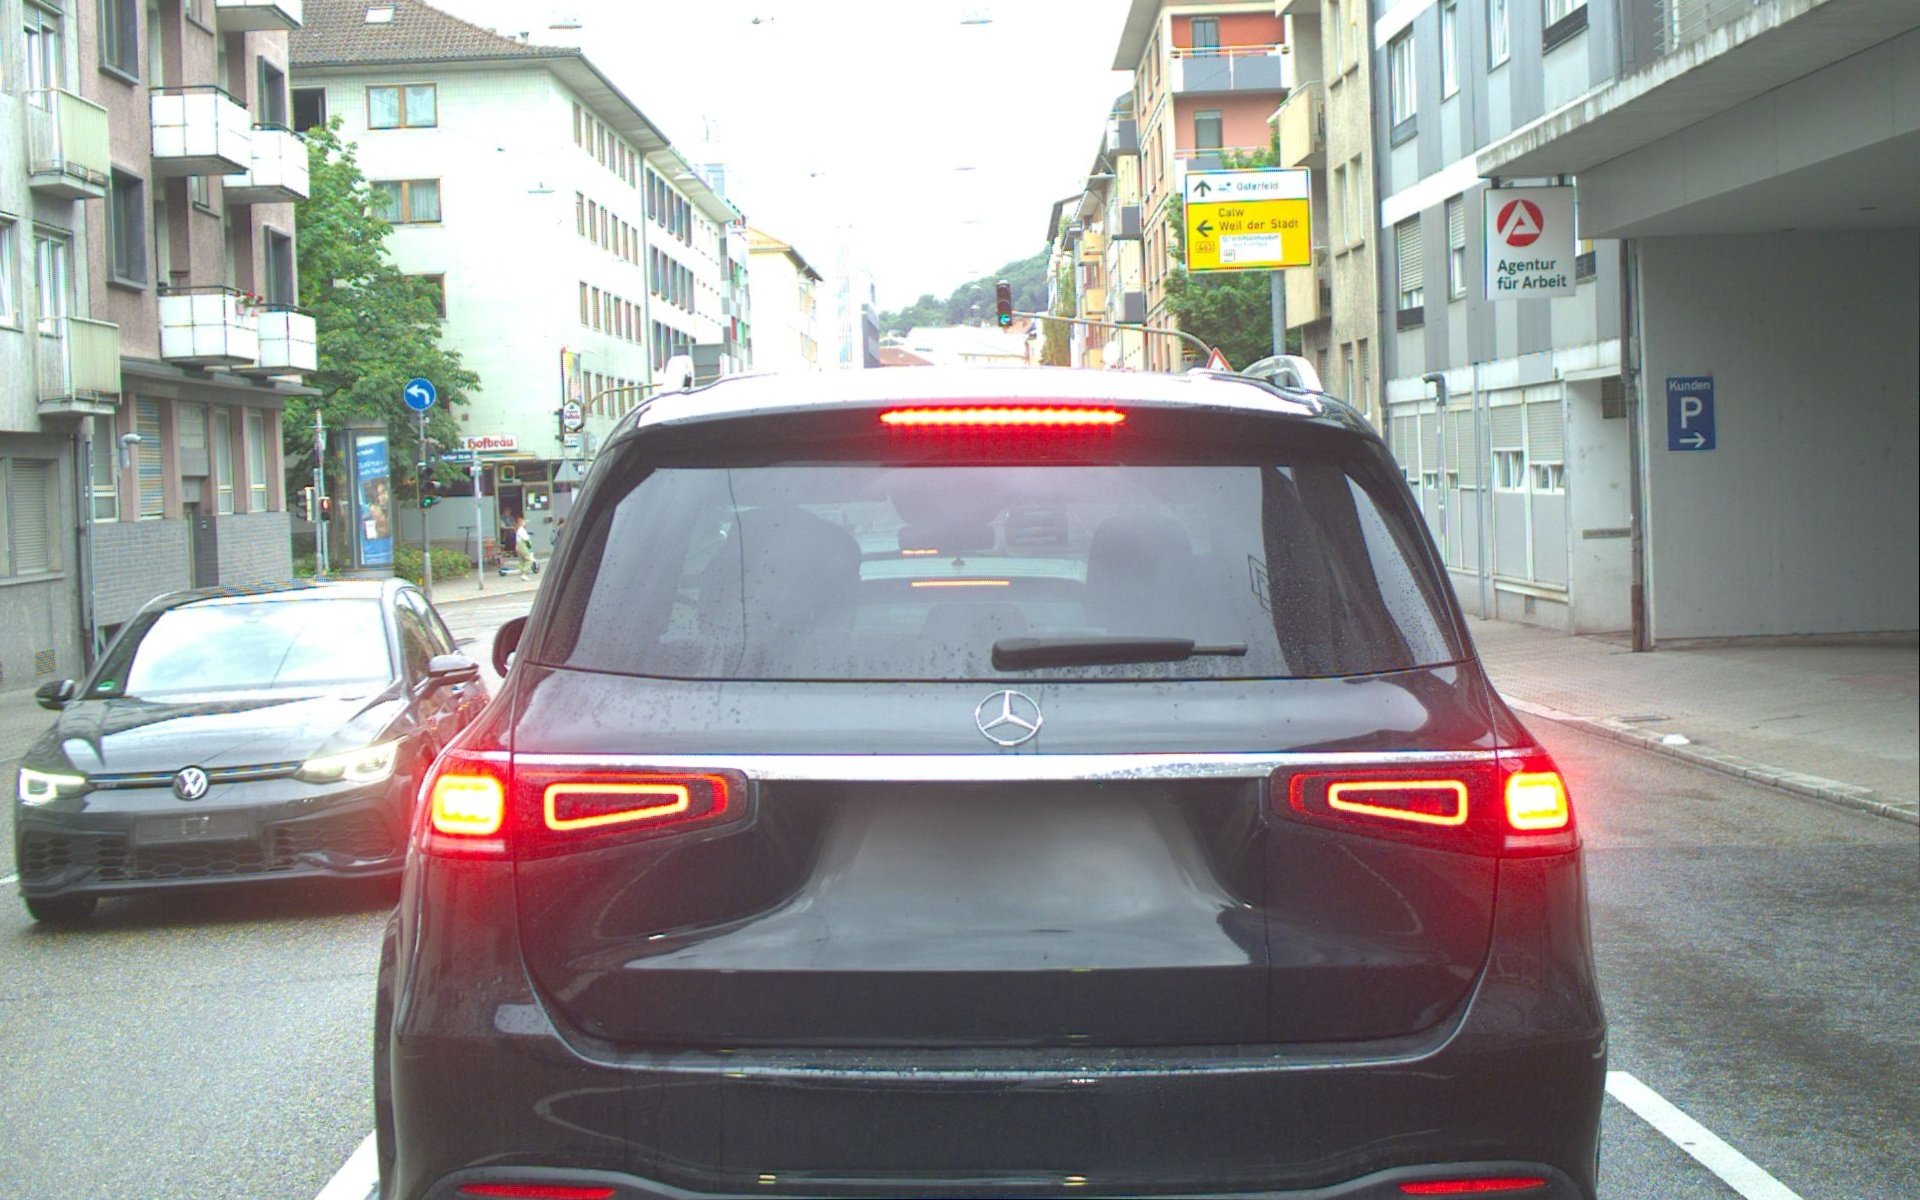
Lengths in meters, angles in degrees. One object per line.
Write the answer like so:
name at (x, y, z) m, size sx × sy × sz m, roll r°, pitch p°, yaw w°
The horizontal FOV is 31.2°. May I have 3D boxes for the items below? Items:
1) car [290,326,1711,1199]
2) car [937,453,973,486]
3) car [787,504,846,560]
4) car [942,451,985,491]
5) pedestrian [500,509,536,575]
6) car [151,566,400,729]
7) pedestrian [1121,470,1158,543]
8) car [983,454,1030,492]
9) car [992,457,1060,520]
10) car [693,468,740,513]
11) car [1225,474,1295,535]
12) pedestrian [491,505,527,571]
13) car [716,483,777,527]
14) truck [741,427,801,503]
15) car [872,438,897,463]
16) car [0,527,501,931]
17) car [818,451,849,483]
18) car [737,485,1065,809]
car at (0.029, 0.506, 7.037) m, size 1.985 × 1.799 × 4.390 m, roll 1°, pitch 1°, yaw -1°
car at (-0.268, -6.905, 182.516) m, size 1.618 × 1.534 × 4.218 m, roll -3°, pitch 1°, yaw -3°
car at (-4.231, -1.985, 101.236) m, size 1.618 × 1.534 × 4.218 m, roll -3°, pitch 1°, yaw -3°
car at (0.142, -5.732, 153.123) m, size 1.618 × 1.534 × 4.218 m, roll -3°, pitch 1°, yaw -3°
pedestrian at (-11.991, -1.582, 93.288) m, size 0.636 × 1.758 × 0.773 m, roll -2°, pitch 1°, yaw 15°
car at (-6.666, 0.416, 33.874) m, size 1.598 × 1.365 × 4.363 m, roll -4°, pitch 1°, yaw -2°
pedestrian at (5.016, -2.613, 96.122) m, size 0.923 × 2.007 × 0.706 m, roll -2°, pitch 1°, yaw -2°
car at (1.904, -5.229, 142.105) m, size 1.618 × 1.382 × 4.218 m, roll -3°, pitch 1°, yaw -3°
car at (2.025, -3.427, 106.059) m, size 1.723 × 1.754 × 4.218 m, roll -3°, pitch 1°, yaw -3°
car at (-9.327, -4.200, 131.750) m, size 1.618 × 1.534 × 4.218 m, roll -3°, pitch 1°, yaw -3°
car at (8.220, -2.621, 94.532) m, size 1.671 × 1.583 × 3.330 m, roll -2°, pitch 1°, yaw 2°
pedestrian at (-13.408, -1.845, 102.182) m, size 0.923 × 1.895 × 0.706 m, roll -2°, pitch 1°, yaw -2°
car at (-7.026, -3.130, 113.243) m, size 1.885 × 1.260 × 4.218 m, roll -3°, pitch 1°, yaw -3°
truck at (-8.614, -6.093, 157.022) m, size 2.479 × 3.035 × 9.921 m, roll -3°, pitch 1°, yaw -3°
car at (-5.471, -10.861, 250.141) m, size 1.618 × 1.534 × 4.218 m, roll -3°, pitch 1°, yaw -3°
car at (-3.302, 0.529, 16.379) m, size 1.694 × 1.575 × 4.218 m, roll -4°, pitch 0°, yaw -2°
car at (-7.146, -7.484, 193.650) m, size 1.618 × 1.534 × 4.218 m, roll -3°, pitch 1°, yaw -3°
car at (-0.421, 0.237, 20.851) m, size 1.751 × 1.725 × 4.218 m, roll -1°, pitch 1°, yaw -3°
